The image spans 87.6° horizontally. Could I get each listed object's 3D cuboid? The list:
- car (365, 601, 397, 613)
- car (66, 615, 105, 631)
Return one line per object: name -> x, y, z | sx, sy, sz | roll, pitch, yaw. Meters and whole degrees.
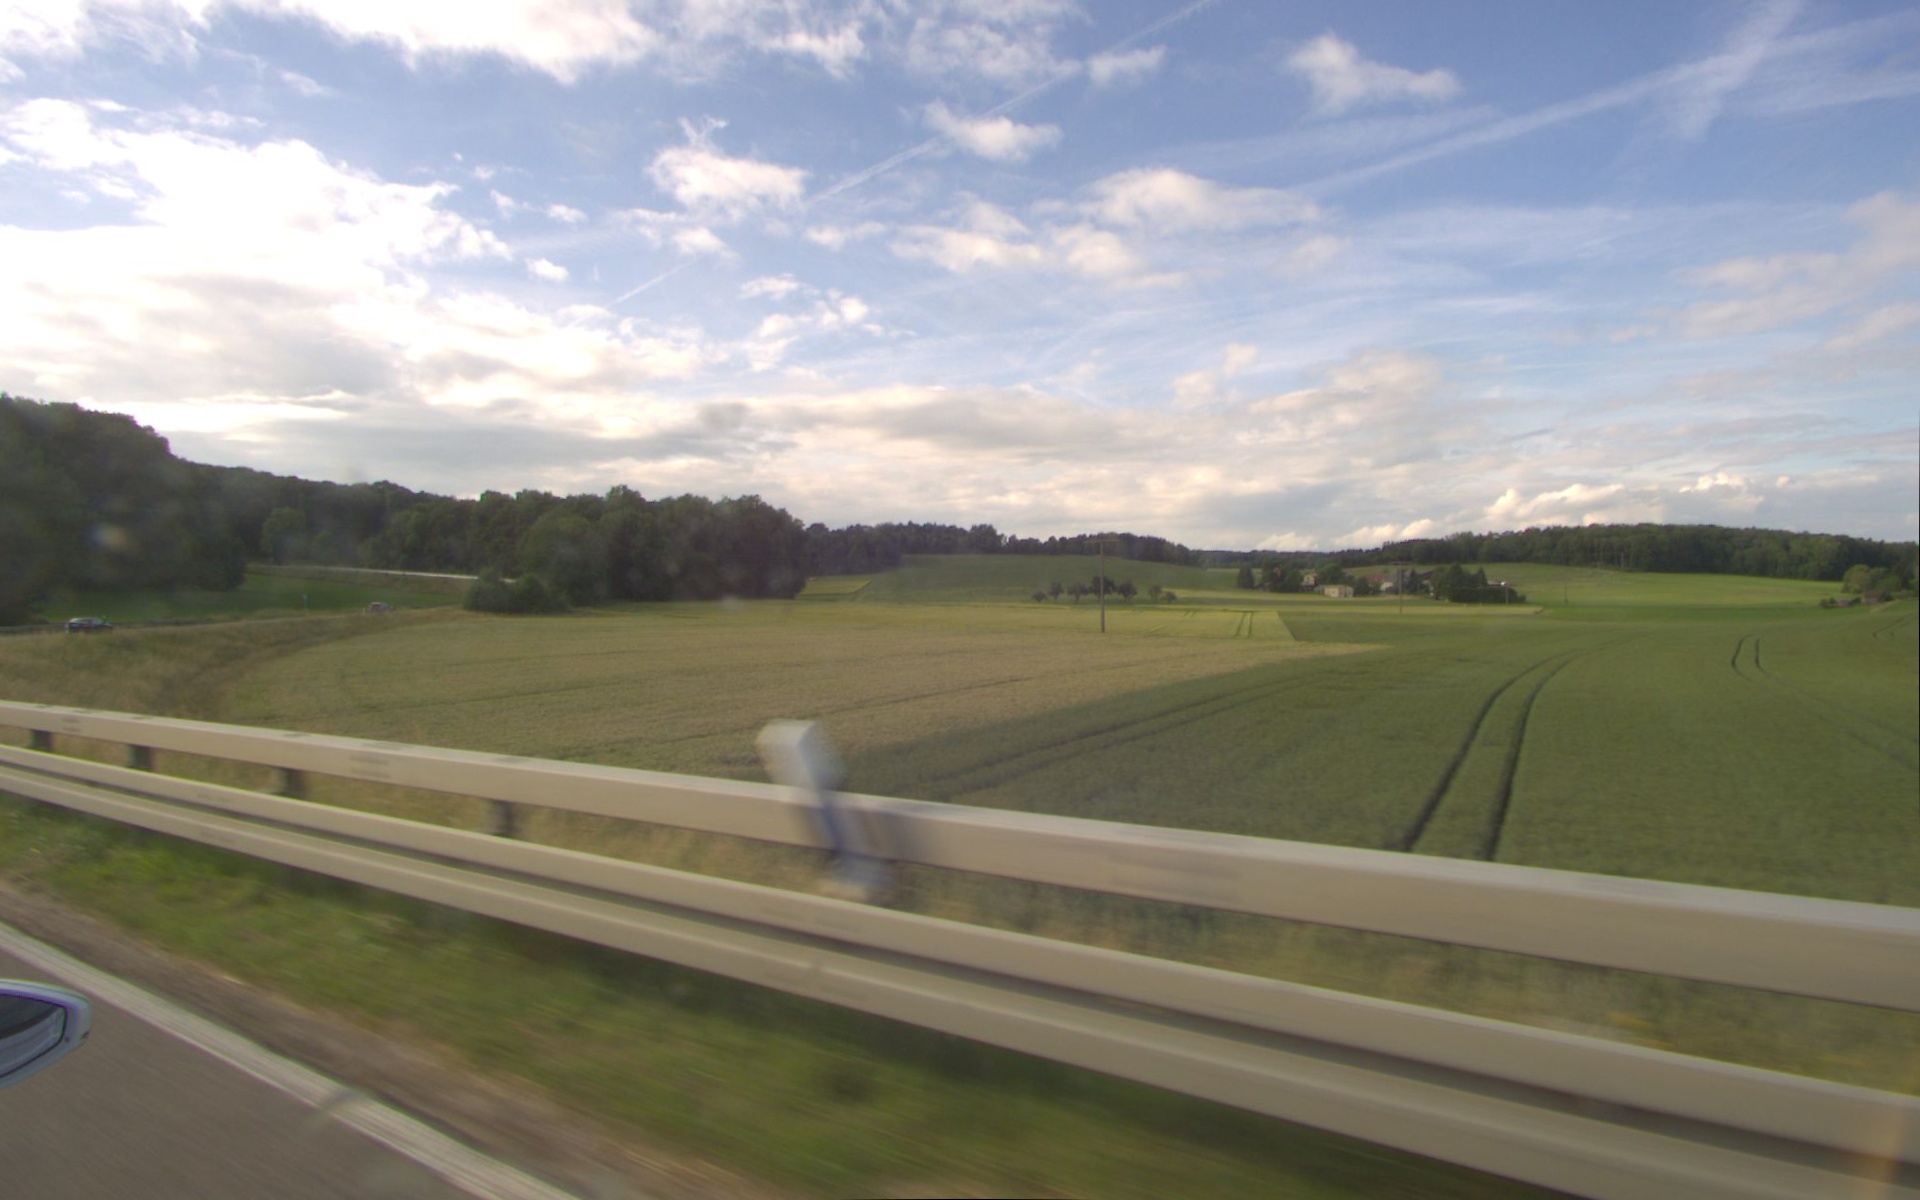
car -> -82.439, 0.942, 142.631 | 1.961, 1.701, 4.177 | 0, 0, 1
car -> -71.771, 1.886, 82.215 | 1.452, 1.243, 3.290 | -1, -1, -23
